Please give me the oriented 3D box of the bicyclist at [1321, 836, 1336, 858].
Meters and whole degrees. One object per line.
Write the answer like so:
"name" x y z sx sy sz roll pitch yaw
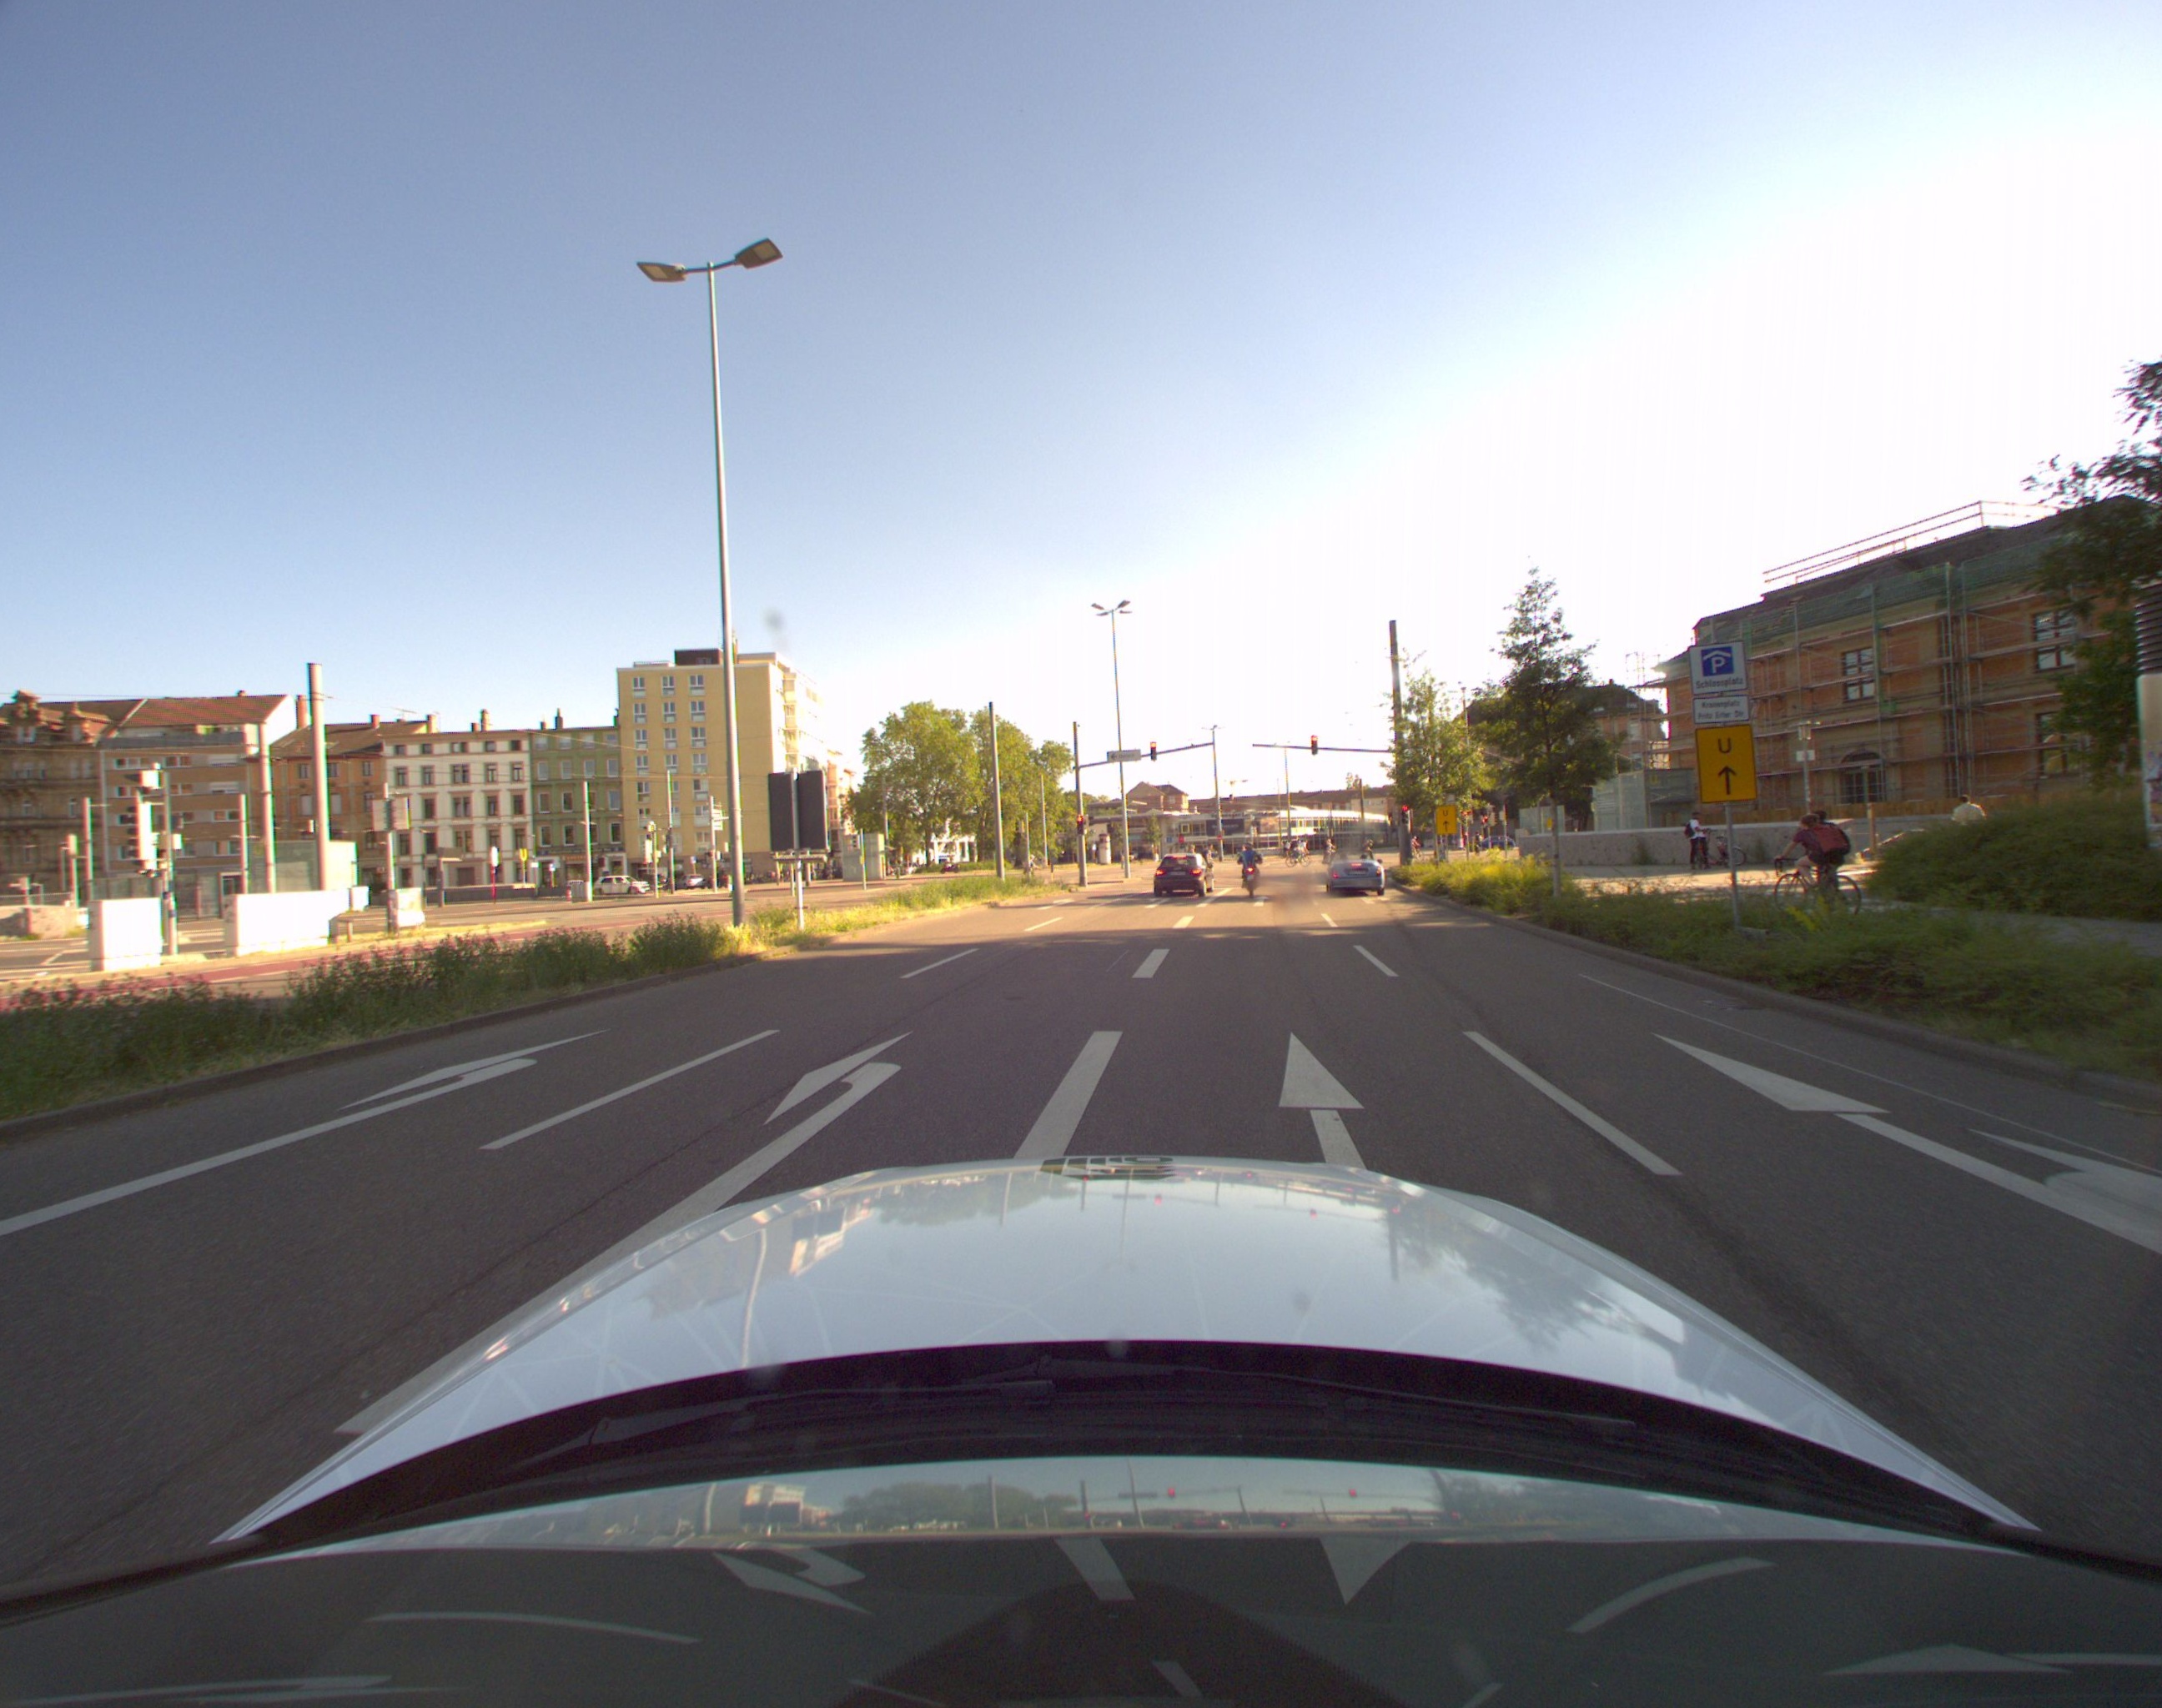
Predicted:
"bicyclist" 19.194 -0.531 63.040 0.655 1.690 0.849 -4 2 -44

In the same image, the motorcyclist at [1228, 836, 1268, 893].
"motorcyclist" 5.282 0.327 25.694 1.087 1.721 0.940 -2 -1 16

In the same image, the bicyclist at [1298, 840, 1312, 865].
"bicyclist" 15.579 -0.143 56.728 0.648 1.690 0.859 -2 2 -3

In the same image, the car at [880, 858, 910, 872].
"car" -27.736 1.606 121.438 4.001 1.857 1.841 -3 2 -20

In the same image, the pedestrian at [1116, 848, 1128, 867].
"pedestrian" 4.134 0.331 82.263 0.982 1.816 0.923 -2 2 13

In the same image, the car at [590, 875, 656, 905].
"car" -34.703 2.722 61.816 3.727 2.013 1.997 -2 2 -5

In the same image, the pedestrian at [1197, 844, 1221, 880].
"pedestrian" 6.036 0.385 38.460 0.830 1.671 0.693 -3 0 -24

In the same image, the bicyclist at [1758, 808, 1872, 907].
"bicyclist" 10.888 0.061 12.127 0.716 1.384 1.077 -2 -1 4

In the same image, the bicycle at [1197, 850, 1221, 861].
"bicycle" 13.372 0.170 85.233 2.291 0.979 0.859 -2 2 -4

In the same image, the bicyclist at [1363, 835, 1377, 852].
"bicyclist" 27.655 -1.032 78.051 0.920 1.559 0.963 -3 0 0

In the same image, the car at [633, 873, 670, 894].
"car" -39.291 2.674 74.436 1.850 1.719 3.951 -4 2 -44

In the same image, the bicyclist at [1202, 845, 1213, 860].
"bicyclist" 13.246 -0.135 85.222 0.922 1.559 0.859 -2 2 -4

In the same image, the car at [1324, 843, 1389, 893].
"car" 8.882 0.398 26.067 1.785 1.444 3.999 -1 0 21

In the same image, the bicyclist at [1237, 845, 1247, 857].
"bicyclist" 16.335 -0.287 82.640 0.713 1.143 0.834 -3 2 -11

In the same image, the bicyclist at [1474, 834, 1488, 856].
"bicyclist" 29.336 -0.647 59.711 0.782 1.593 0.952 -5 -2 23

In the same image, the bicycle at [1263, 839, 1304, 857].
"bicycle" 21.409 -0.627 86.217 3.978 1.689 1.138 -2 2 -3

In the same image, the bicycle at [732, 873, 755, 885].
"bicycle" -34.770 2.544 83.854 2.038 1.090 0.776 -3 0 -4

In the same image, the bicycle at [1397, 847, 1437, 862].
"bicycle" 22.419 0.028 54.330 2.288 0.905 0.860 -2 2 0

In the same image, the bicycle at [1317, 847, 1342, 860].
"bicycle" 19.242 -0.017 63.057 2.317 0.905 0.849 -4 2 -44

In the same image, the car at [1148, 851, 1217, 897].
"car" 3.588 0.648 28.210 1.787 1.444 3.995 -1 0 15

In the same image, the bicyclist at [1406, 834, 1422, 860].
"bicyclist" 22.225 -0.495 54.326 0.647 1.690 0.860 -2 2 0

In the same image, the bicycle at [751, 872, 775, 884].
"bicycle" -32.462 2.446 83.172 2.038 1.090 0.776 -3 0 -4

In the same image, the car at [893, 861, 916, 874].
"car" -21.353 1.621 98.755 1.841 1.452 3.999 -2 0 -1

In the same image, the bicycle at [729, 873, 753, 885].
"bicycle" -34.632 2.537 82.991 2.038 1.090 0.776 -3 0 -4

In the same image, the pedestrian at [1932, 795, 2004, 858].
"pedestrian" 25.275 -0.765 23.226 0.982 1.724 0.936 -3 0 -4

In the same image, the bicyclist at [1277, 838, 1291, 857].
"bicyclist" 21.507 -0.719 86.231 1.068 1.900 1.122 -2 2 -3

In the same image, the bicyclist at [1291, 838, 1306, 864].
"bicyclist" 14.193 -0.214 53.221 0.648 1.690 0.859 -2 2 -5

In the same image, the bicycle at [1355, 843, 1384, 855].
"bicycle" 27.642 -0.497 78.038 2.430 1.003 0.963 -3 0 -1

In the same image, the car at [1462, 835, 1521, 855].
"car" 39.138 -0.834 77.690 4.579 1.594 1.957 -3 0 5

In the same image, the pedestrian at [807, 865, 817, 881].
"pedestrian" -28.601 2.050 86.557 0.774 1.676 0.782 -3 0 -2

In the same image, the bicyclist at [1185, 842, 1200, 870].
"bicyclist" 7.094 0.108 51.888 0.744 1.690 0.858 -2 2 -6

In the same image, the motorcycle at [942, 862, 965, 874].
"motorcycle" -13.223 1.442 84.363 2.276 1.054 0.688 -2 2 2

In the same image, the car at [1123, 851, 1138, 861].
"car" 7.959 0.312 130.899 1.981 1.534 4.012 -2 2 10

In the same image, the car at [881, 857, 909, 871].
"car" -28.284 1.551 123.886 4.001 1.857 1.841 -3 2 -20

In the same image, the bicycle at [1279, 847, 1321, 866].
"bicycle" 14.287 0.146 53.226 2.490 1.133 0.858 -2 2 -7

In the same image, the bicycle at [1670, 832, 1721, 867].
"bicycle" 19.561 -0.147 25.983 0.782 1.039 1.974 -5 -2 23

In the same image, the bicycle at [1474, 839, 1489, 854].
"bicycle" 29.375 -0.544 59.781 0.782 1.039 1.974 -5 -2 23

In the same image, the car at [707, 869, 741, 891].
"car" -32.977 2.378 75.183 1.862 1.857 3.954 -4 2 -39

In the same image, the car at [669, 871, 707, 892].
"car" -36.068 2.525 74.665 3.950 1.748 1.851 -1 2 44

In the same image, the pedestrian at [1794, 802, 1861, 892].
"pedestrian" 14.205 -0.129 15.526 0.798 1.658 0.795 0 0 31

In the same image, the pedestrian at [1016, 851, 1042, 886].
"pedestrian" -2.525 0.709 39.686 1.087 1.606 0.700 -2 2 5

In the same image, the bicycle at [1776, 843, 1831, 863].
"bicycle" 21.364 -0.030 24.106 0.427 0.540 1.358 -4 0 2

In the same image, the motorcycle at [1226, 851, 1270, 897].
"motorcycle" 5.294 0.597 25.709 1.087 1.377 2.664 -2 0 16

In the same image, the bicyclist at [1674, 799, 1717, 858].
"bicyclist" 19.543 -0.802 25.933 0.780 1.786 0.899 -5 -2 23

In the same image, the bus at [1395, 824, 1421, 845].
"bus" 52.180 -3.160 129.829 2.331 2.882 9.641 -1 2 31

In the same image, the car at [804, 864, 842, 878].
"car" -30.550 2.033 96.496 3.984 1.422 1.808 -3 0 -8

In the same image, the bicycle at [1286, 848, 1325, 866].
"bicycle" 15.617 0.210 56.732 2.487 1.133 0.859 -2 2 -3

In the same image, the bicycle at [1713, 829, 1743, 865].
"bicycle" 20.540 -0.235 25.832 0.620 1.039 1.975 -6 -2 40

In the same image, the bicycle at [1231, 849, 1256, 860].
"bicycle" 16.514 0.047 82.681 2.296 0.959 0.857 -3 2 -10

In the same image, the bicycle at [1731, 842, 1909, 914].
"bicycle" 10.898 0.348 12.148 0.716 0.952 2.252 -2 -1 5

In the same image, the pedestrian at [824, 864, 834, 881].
"pedestrian" -26.818 1.967 86.567 0.774 1.676 0.782 -3 0 -2

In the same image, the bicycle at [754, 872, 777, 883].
"bicycle" -32.564 2.424 84.014 2.038 1.090 0.776 -3 0 -4

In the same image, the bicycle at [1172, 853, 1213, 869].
"bicycle" 7.094 0.441 51.899 2.490 0.874 0.858 -2 2 -6

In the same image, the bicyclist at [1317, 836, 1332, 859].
"bicyclist" 18.735 -0.495 62.604 0.588 1.778 0.856 -2 -1 -42
